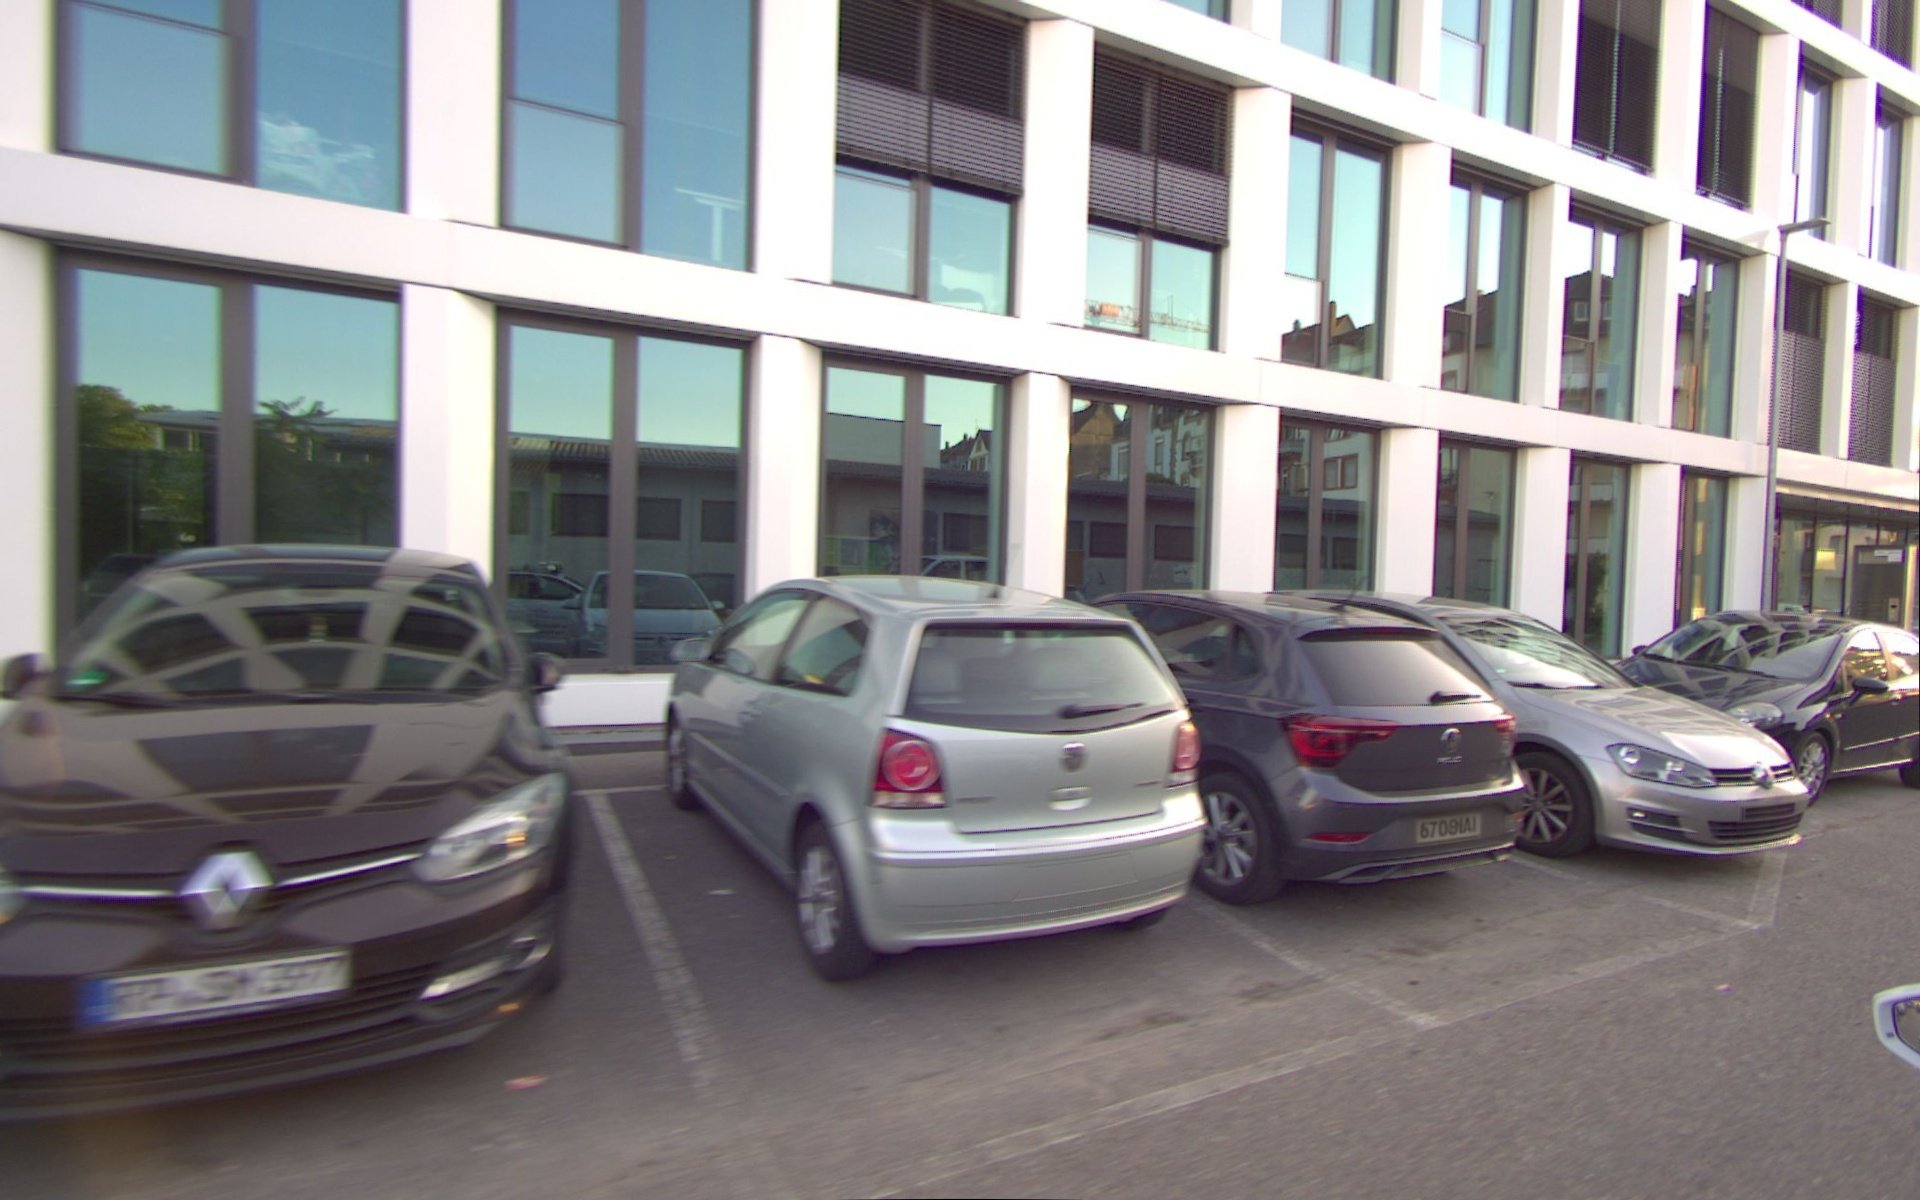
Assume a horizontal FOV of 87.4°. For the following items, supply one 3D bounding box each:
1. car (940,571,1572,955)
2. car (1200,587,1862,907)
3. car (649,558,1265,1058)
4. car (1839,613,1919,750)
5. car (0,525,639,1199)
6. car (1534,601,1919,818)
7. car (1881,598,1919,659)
[{"bbox_3d":[1.429,0.644,6.191,1.666,1.532,3.640,0,3,-27],"label":"car"},{"bbox_3d":[3.712,0.750,7.340,1.665,1.532,3.912,0,3,-26],"label":"car"},{"bbox_3d":[-0.403,0.592,5.131,1.666,1.532,3.640,0,3,-27],"label":"car"},{"bbox_3d":[12.468,0.971,12.032,4.136,1.458,1.639,1,5,-31],"label":"car"},{"bbox_3d":[-2.545,0.518,4.128,1.772,1.532,3.950,0,3,-26],"label":"car"},{"bbox_3d":[7.282,0.840,9.081,4.151,1.458,1.640,1,5,-29],"label":"car"},{"bbox_3d":[27.023,0.872,27.244,4.281,1.570,1.771,3,0,-30],"label":"car"}]
